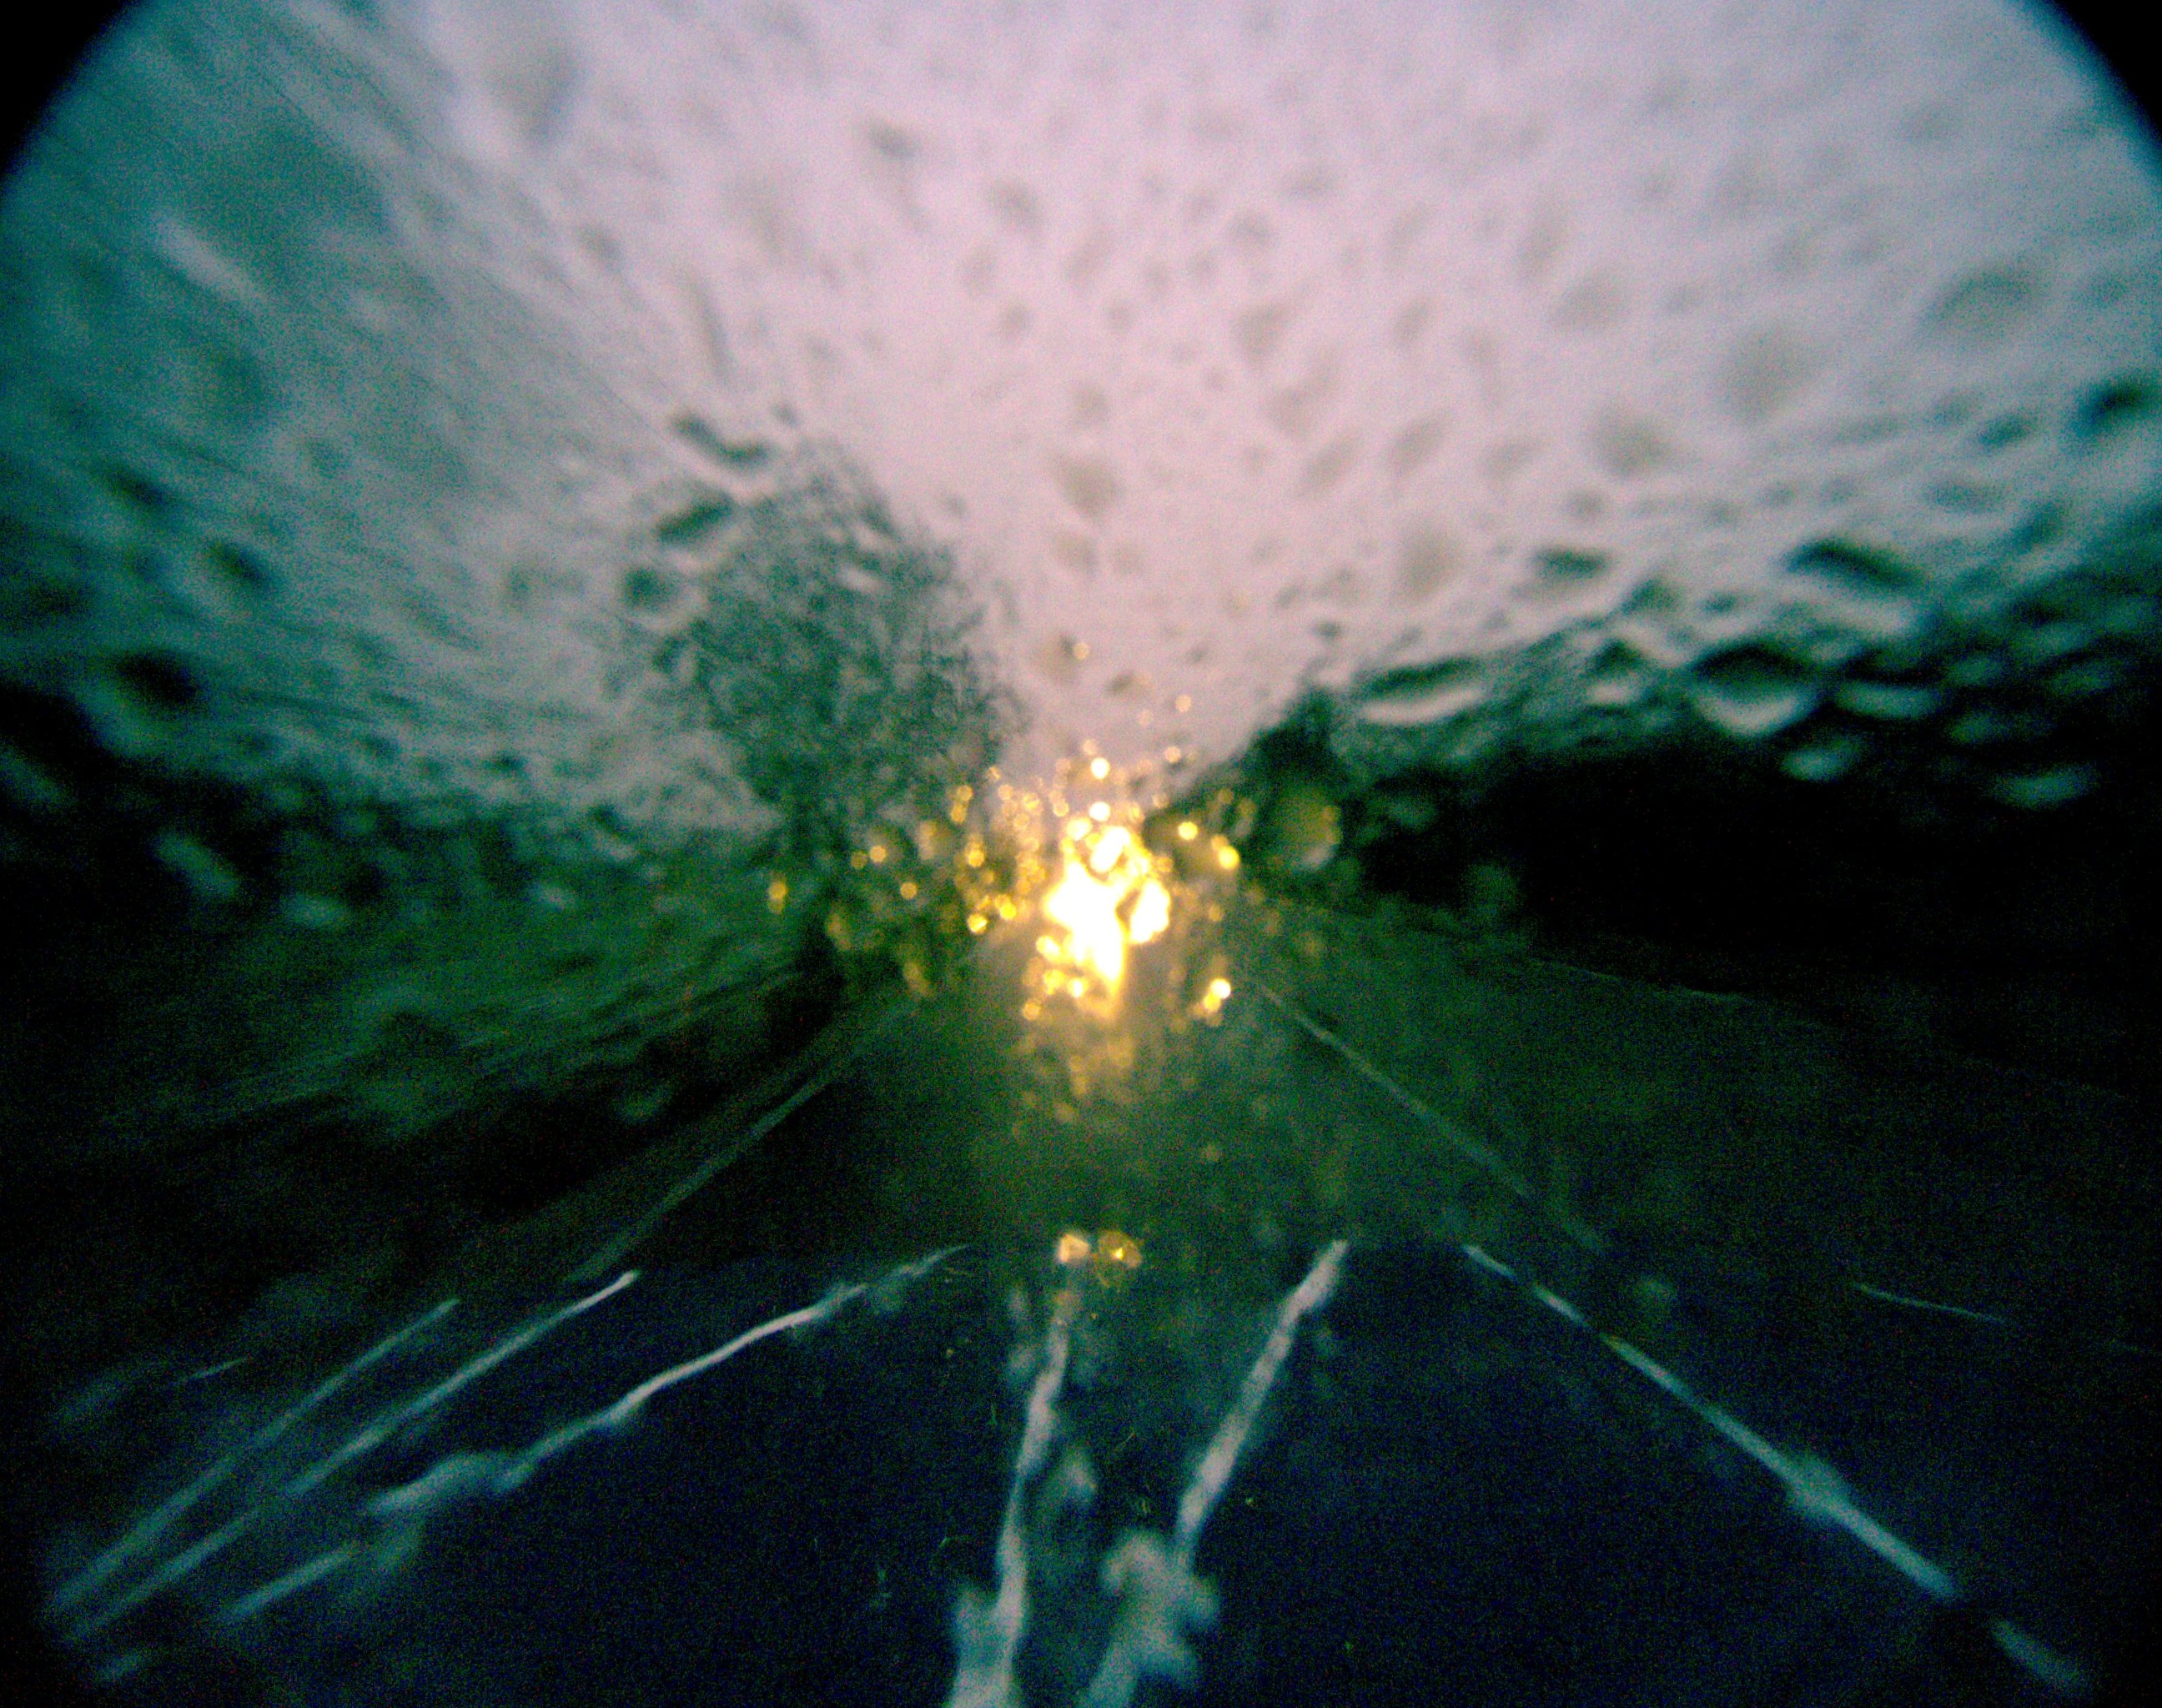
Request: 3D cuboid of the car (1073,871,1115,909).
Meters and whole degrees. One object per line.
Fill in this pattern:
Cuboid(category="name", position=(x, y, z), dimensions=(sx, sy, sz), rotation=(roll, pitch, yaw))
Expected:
Cuboid(category="car", position=(0.657, 1.734, 37.342), dimensions=(1.910, 1.652, 4.001), rotation=(-1, 0, 2))
